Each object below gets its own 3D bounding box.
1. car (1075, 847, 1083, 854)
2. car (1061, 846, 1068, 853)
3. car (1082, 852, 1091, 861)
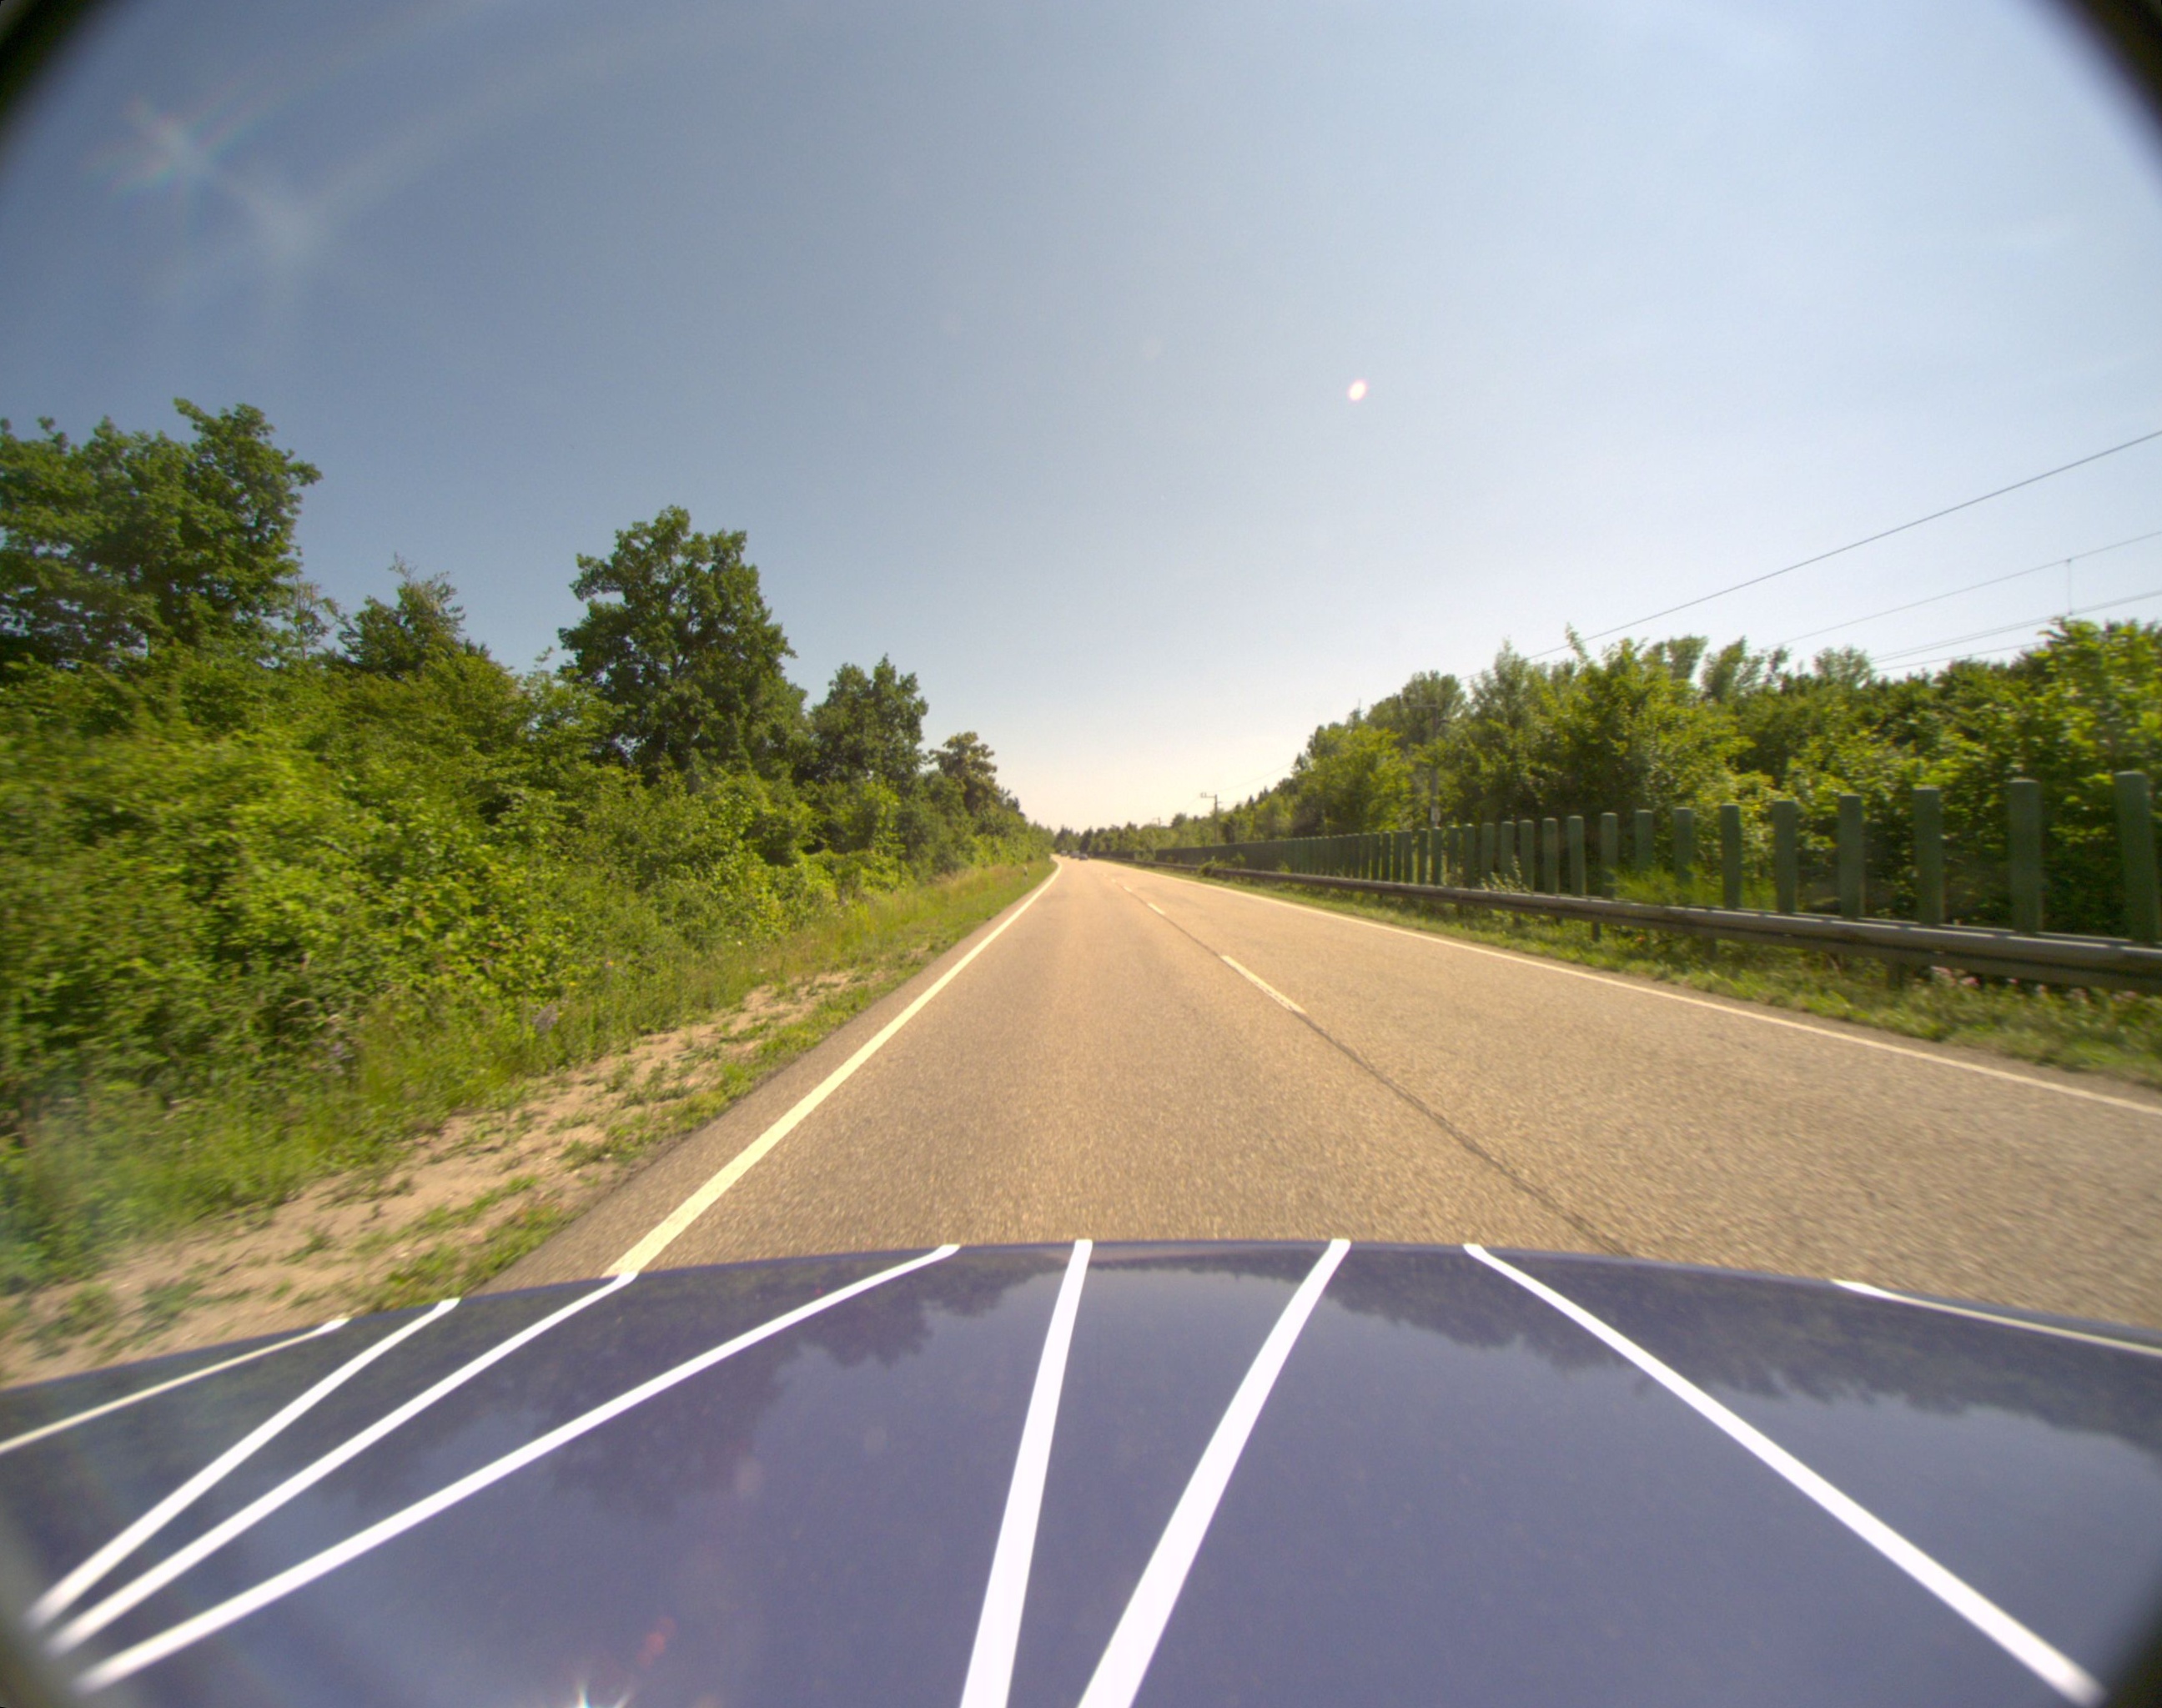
[{"bbox_3d":[-0.464,-0.888,194.933,1.762,1.874,4.532,-1,1,-4],"label":"car"},{"bbox_3d":[-5.187,-1.455,239.357,1.762,1.874,4.531,-2,1,-7],"label":"car"},{"bbox_3d":[1.102,0.532,162.109,1.761,1.874,4.533,-1,1,-2],"label":"car"}]
